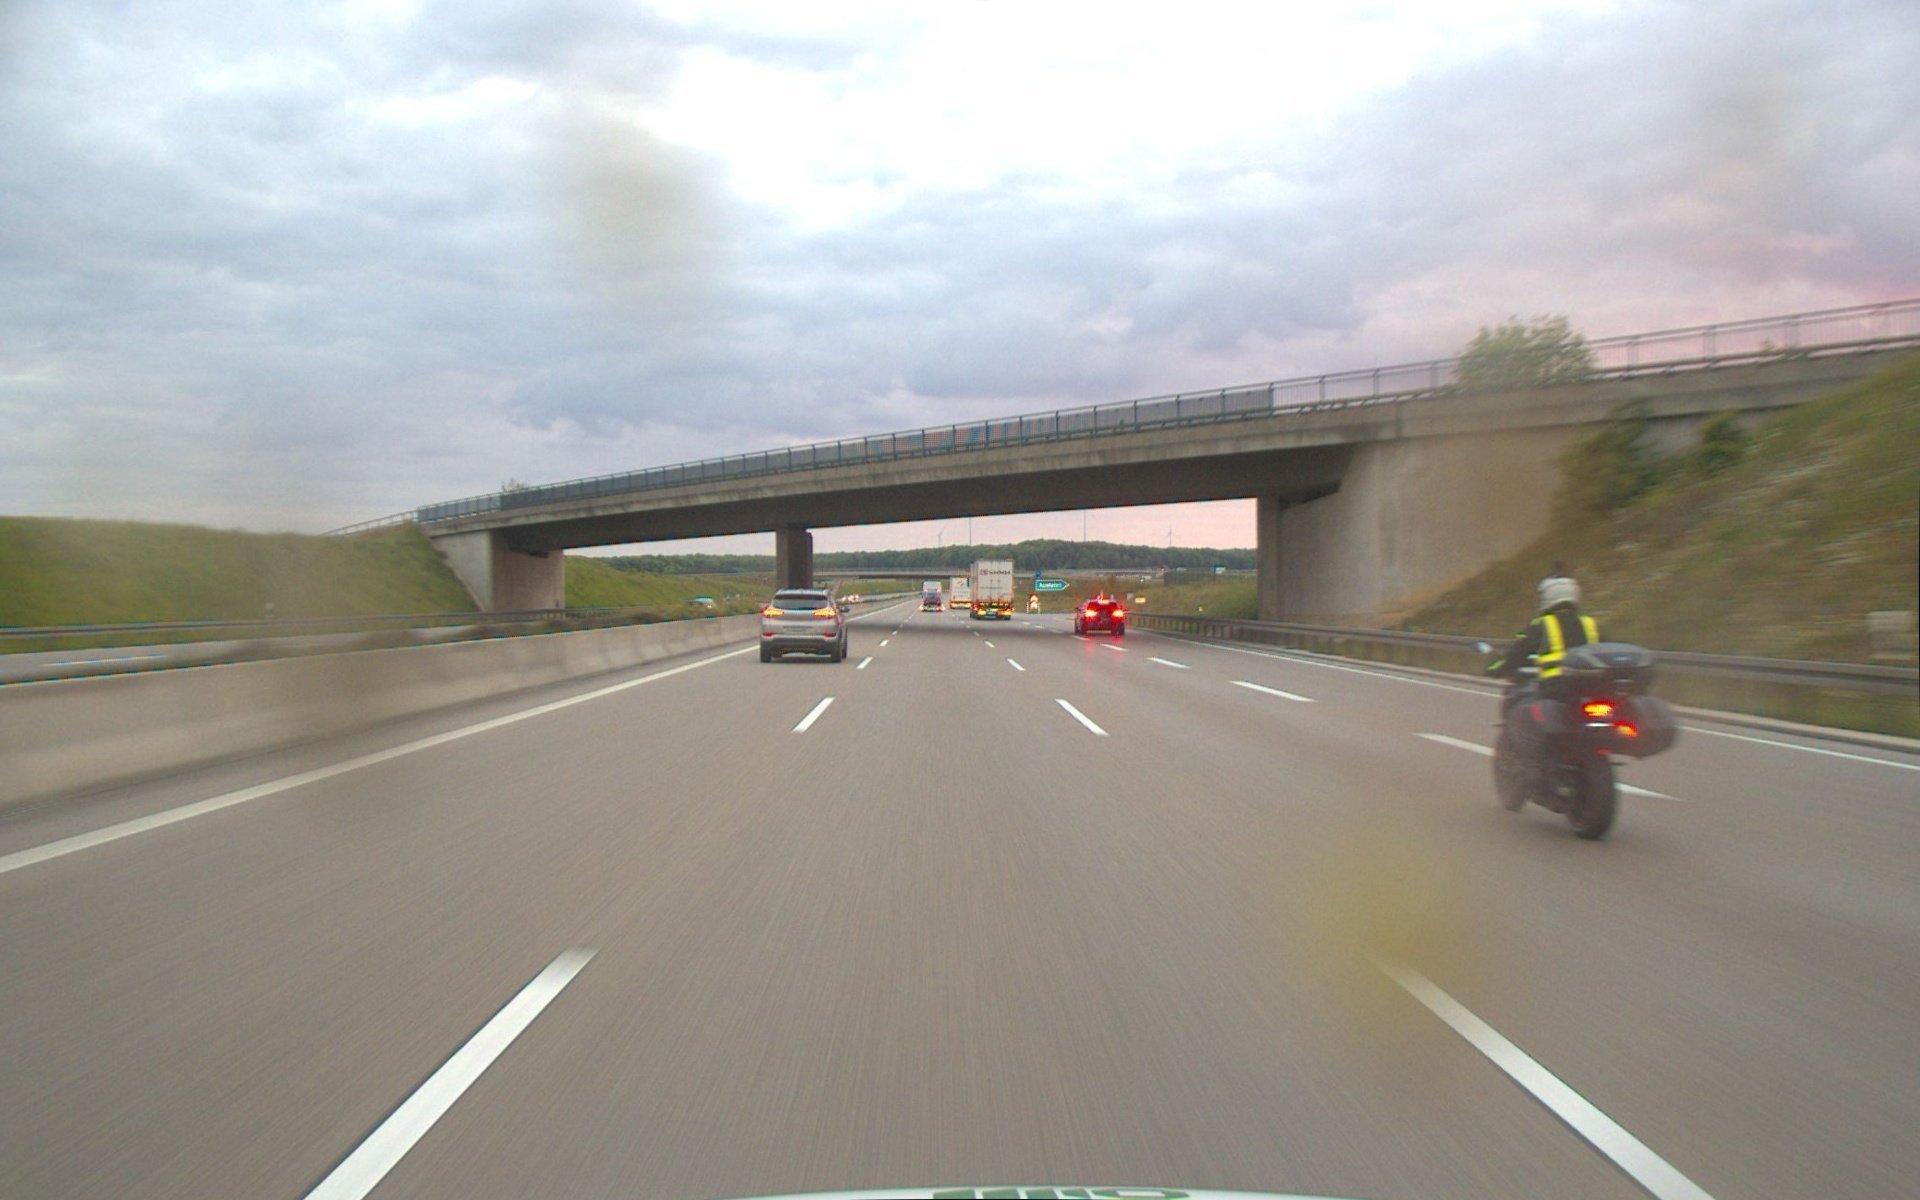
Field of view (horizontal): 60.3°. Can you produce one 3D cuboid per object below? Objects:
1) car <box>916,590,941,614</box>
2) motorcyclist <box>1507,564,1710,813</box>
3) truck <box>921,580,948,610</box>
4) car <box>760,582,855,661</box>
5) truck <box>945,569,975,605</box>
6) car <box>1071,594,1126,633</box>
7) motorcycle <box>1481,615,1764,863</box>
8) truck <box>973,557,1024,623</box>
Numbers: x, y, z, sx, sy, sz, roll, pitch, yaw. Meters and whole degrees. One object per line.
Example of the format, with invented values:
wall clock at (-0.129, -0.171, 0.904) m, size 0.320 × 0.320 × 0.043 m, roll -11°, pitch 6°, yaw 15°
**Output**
car at (-3.298, 0.212, 170.074) m, size 2.466 × 2.433 × 6.494 m, roll 0°, pitch 0°, yaw -2°
motorcyclist at (4.187, 0.538, 10.776) m, size 0.848 × 1.513 × 1.168 m, roll 1°, pitch 1°, yaw 1°
truck at (-2.954, -0.604, 186.277) m, size 2.892 × 3.273 × 8.403 m, roll 1°, pitch 1°, yaw -2°
car at (-3.525, 0.457, 39.061) m, size 1.815 × 1.722 × 5.511 m, roll 0°, pitch 0°, yaw -1°
truck at (-0.030, -1.702, 211.065) m, size 3.454 × 4.421 × 8.403 m, roll 1°, pitch 1°, yaw -2°
car at (5.859, 0.549, 70.382) m, size 1.879 × 1.607 × 3.999 m, roll 0°, pitch 0°, yaw -2°
motorcycle at (4.209, 0.818, 10.758) m, size 0.883 × 1.370 × 2.348 m, roll 0°, pitch 1°, yaw -1°
truck at (2.616, -0.732, 115.001) m, size 3.168 × 4.301 × 9.598 m, roll 1°, pitch 1°, yaw -1°
